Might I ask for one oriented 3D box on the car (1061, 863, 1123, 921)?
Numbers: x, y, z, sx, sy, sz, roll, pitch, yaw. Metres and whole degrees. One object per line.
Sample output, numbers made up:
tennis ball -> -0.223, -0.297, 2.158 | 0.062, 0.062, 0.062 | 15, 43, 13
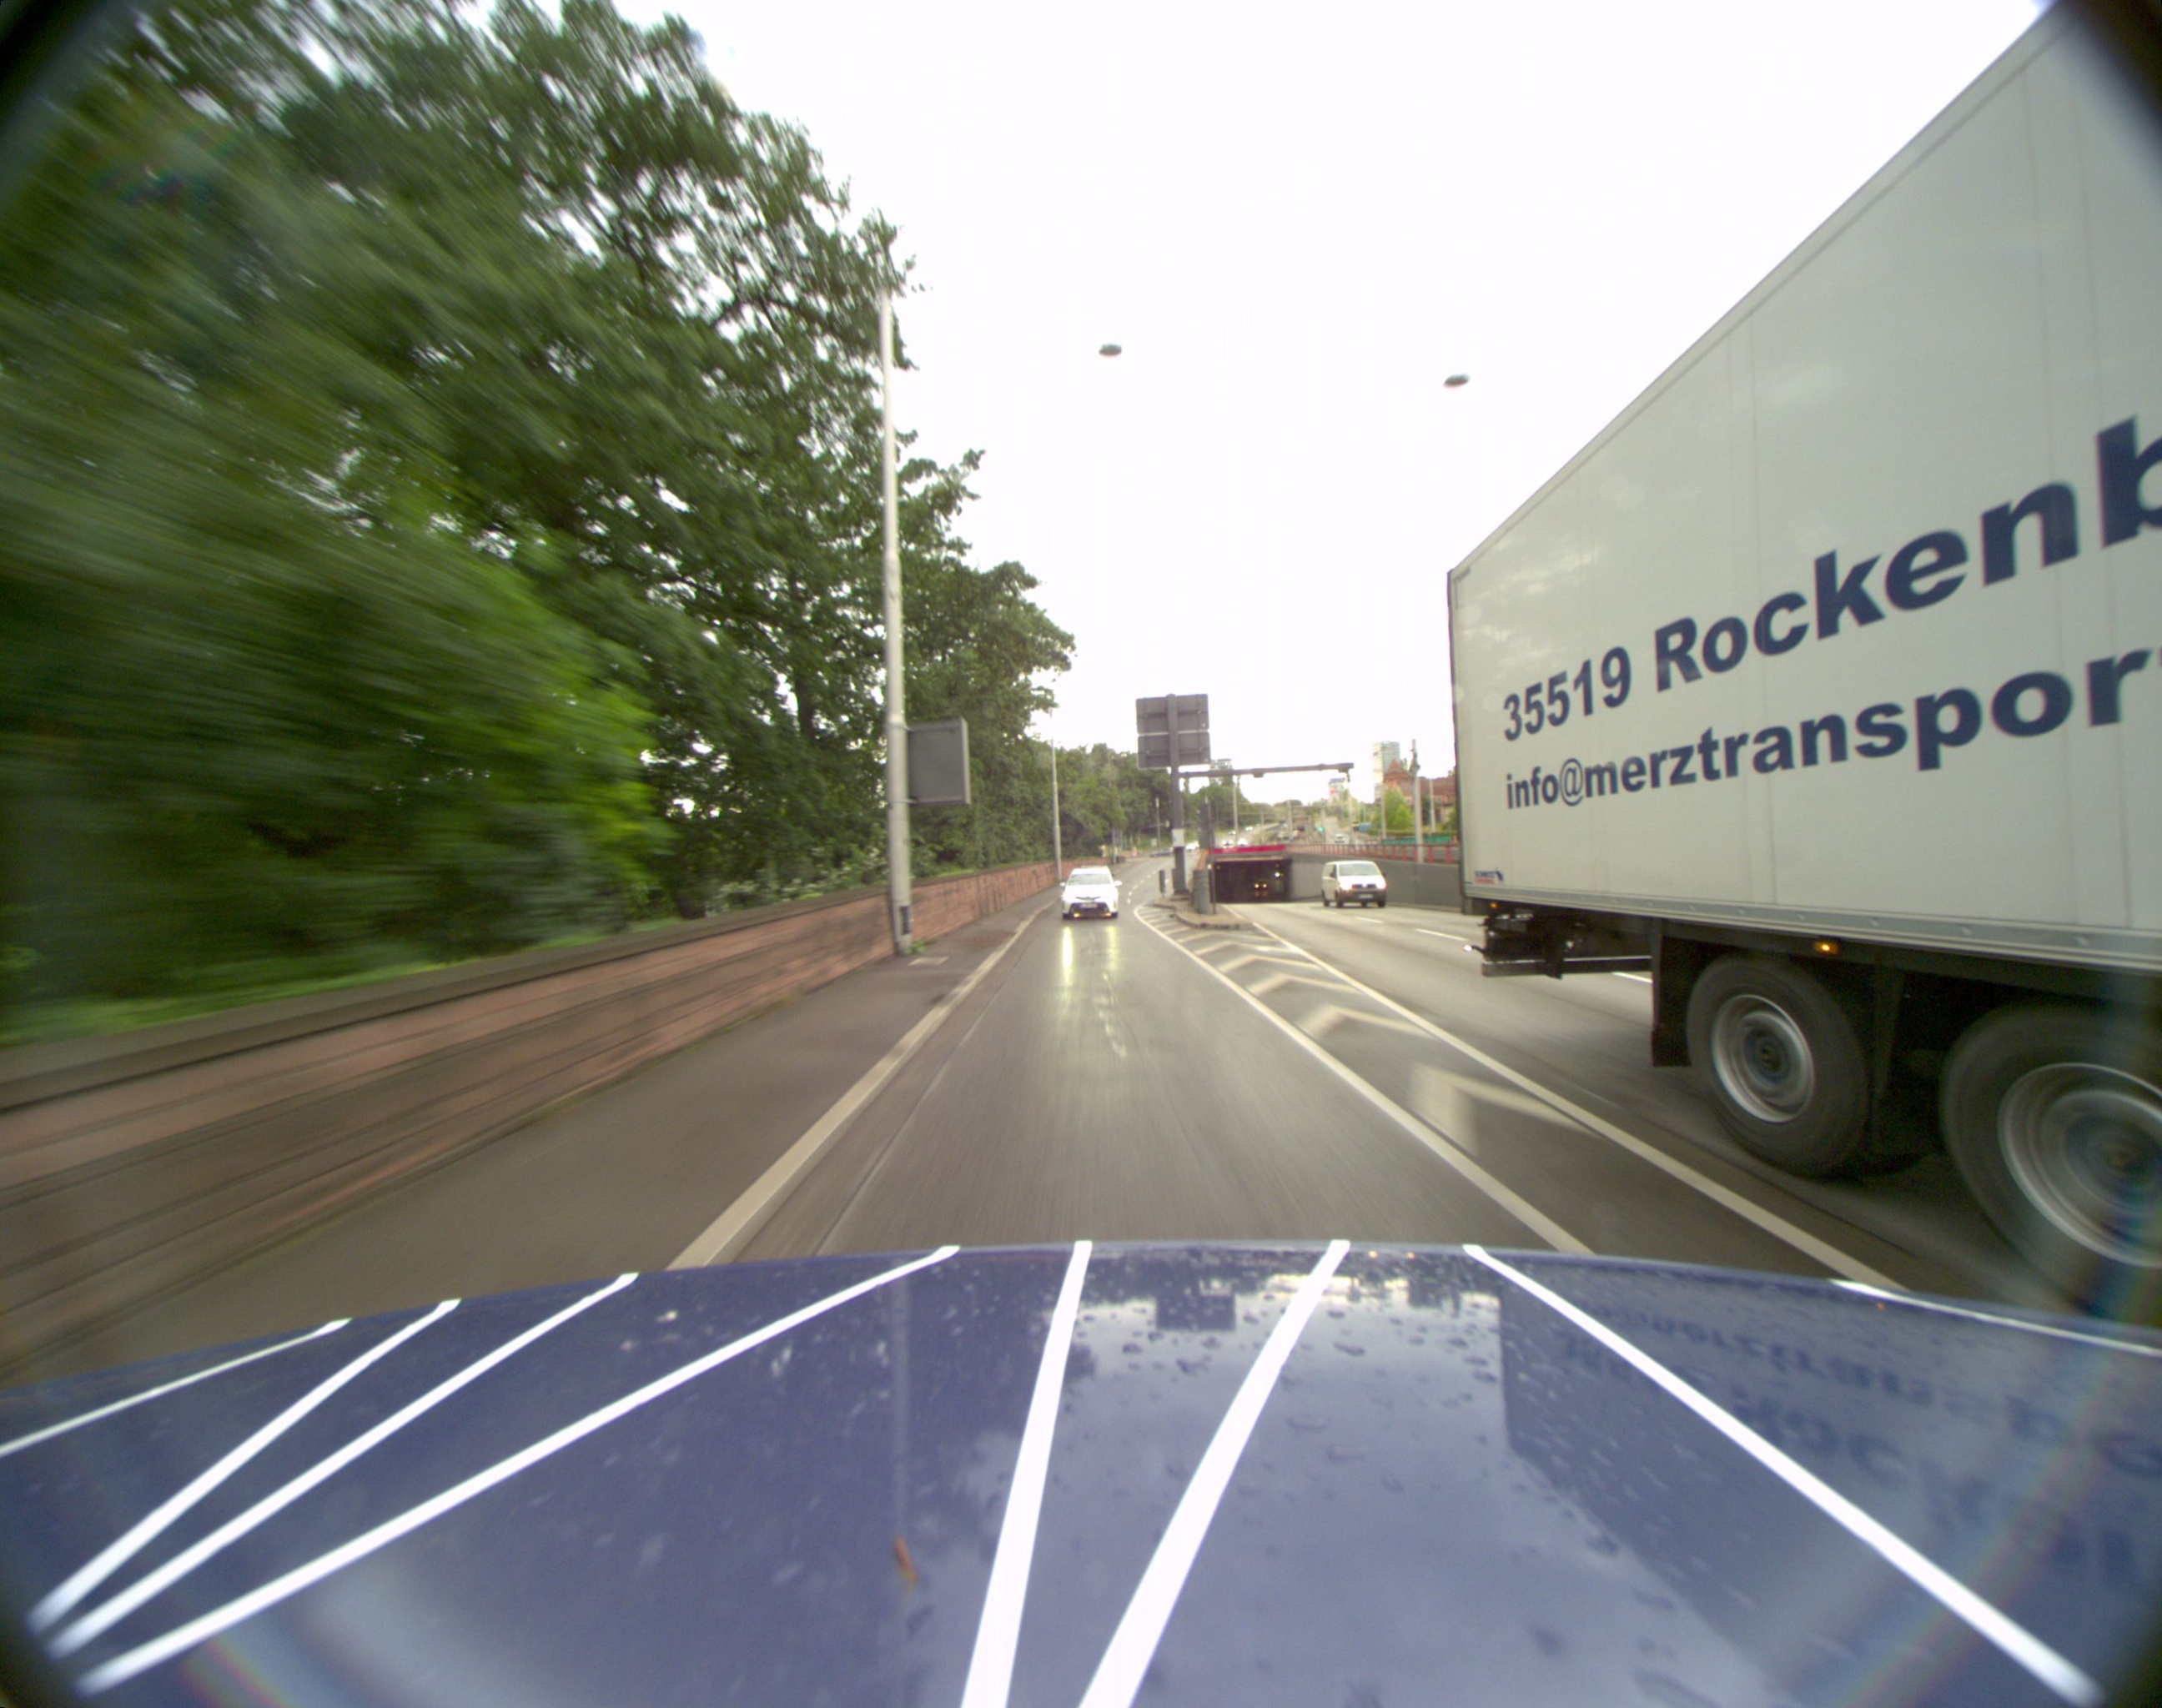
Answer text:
car -> 0.371, 1.191, 25.298 | 1.856, 1.741, 4.000 | -1, 0, 1

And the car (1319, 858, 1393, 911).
car -> 11.544, 1.322, 32.235 | 1.997, 2.014, 4.691 | -2, -3, 8

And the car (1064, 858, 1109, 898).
car -> 0.321, 1.160, 37.710 | 1.855, 1.579, 3.999 | -3, 3, 5

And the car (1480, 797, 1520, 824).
car -> 45.812, -4.732, 83.193 | 1.997, 2.816, 5.720 | 0, 2, 10

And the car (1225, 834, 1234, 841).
car -> 34.193, -3.775, 174.971 | 1.800, 1.463, 4.002 | -2, 2, 11

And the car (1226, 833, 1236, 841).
car -> 34.479, -3.967, 174.908 | 1.736, 1.579, 4.003 | -2, 3, 19

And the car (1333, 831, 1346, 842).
car -> 51.953, -3.573, 152.556 | 1.996, 2.003, 4.001 | -2, 4, 14

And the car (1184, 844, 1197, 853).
car -> 21.278, -1.065, 147.115 | 1.736, 1.579, 4.003 | -2, 3, 19

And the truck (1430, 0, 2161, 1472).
truck -> 4.037, -0.488, 0.421 | 2.768, 4.172, 13.035 | -1, 0, 5
